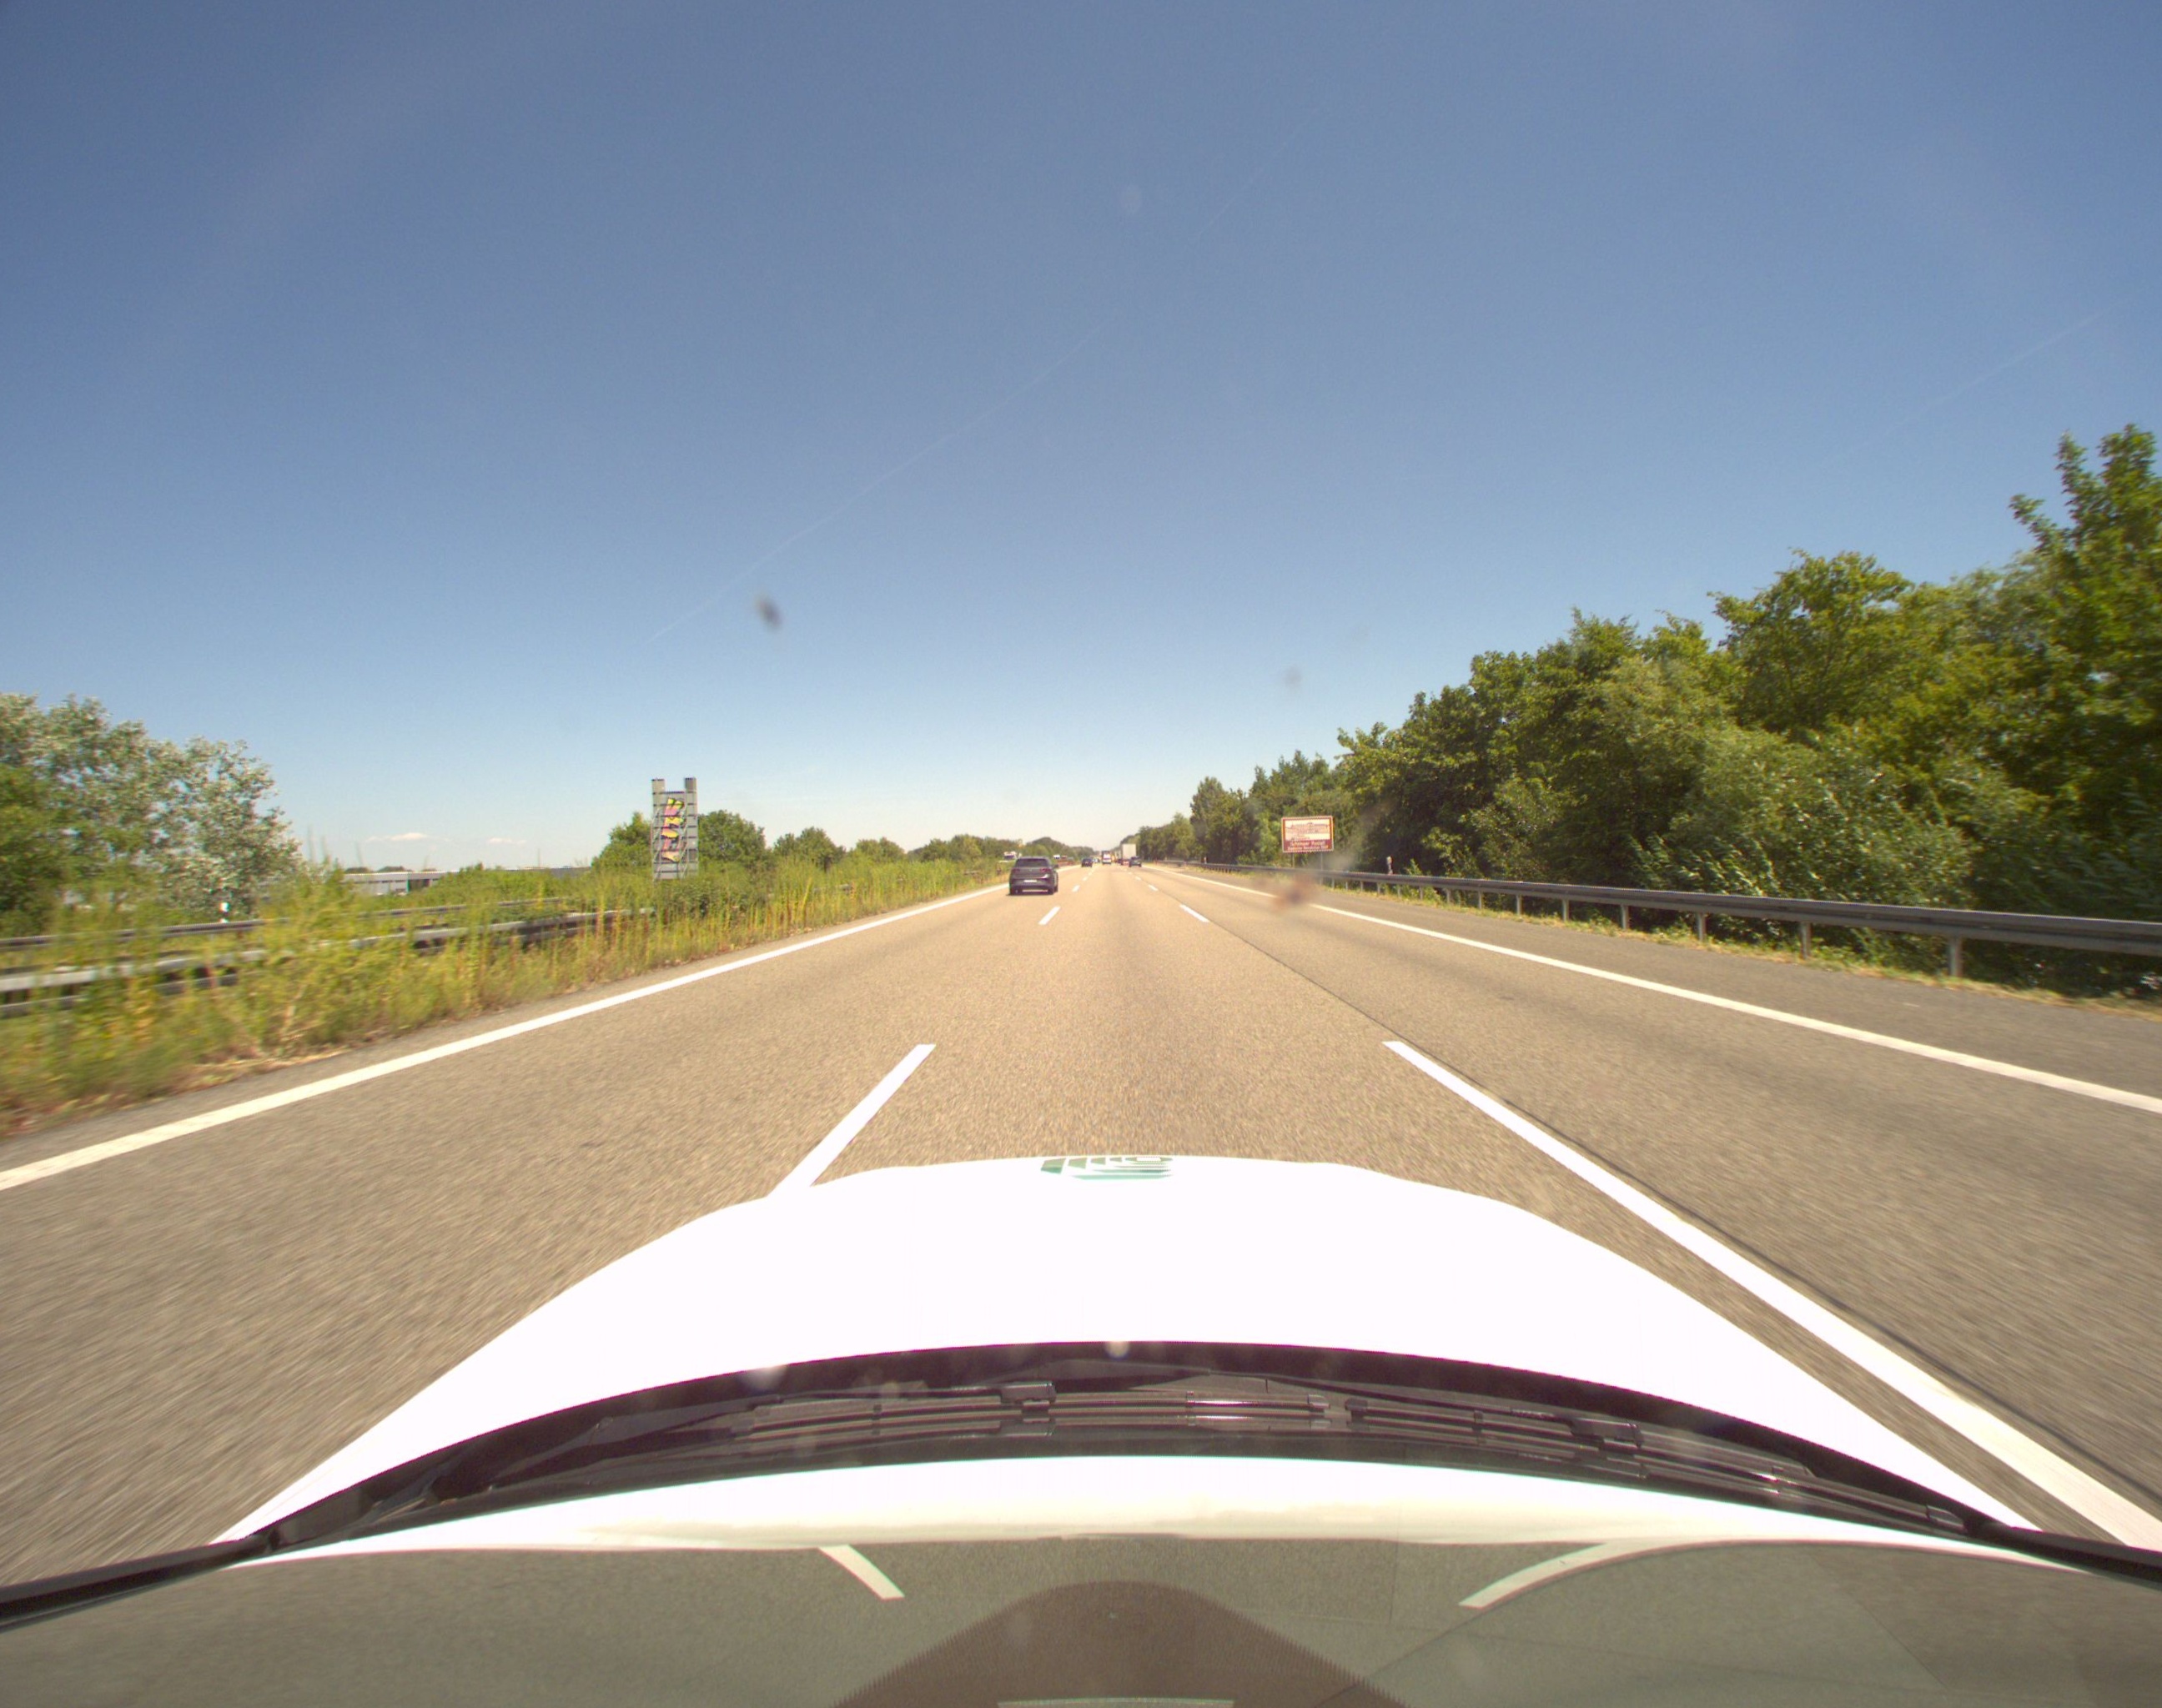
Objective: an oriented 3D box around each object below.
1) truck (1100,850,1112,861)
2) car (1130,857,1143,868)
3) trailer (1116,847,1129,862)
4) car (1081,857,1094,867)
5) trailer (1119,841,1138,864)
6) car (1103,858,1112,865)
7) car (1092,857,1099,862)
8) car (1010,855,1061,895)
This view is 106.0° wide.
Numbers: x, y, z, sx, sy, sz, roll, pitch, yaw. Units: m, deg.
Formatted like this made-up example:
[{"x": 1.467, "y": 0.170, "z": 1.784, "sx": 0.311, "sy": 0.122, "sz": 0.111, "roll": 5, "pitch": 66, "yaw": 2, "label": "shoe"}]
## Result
[{"x": 8.141, "y": 0.467, "z": 262.794, "sx": 3.652, "sy": 3.726, "sz": 7.113, "roll": 0, "pitch": 0, "yaw": 3, "label": "truck"}, {"x": 8.334, "y": 1.306, "z": 122.239, "sx": 1.838, "sy": 1.629, "sz": 4.137, "roll": -2, "pitch": 0, "yaw": 2, "label": "car"}, {"x": 10.963, "y": 0.222, "z": 217.019, "sx": 3.112, "sy": 3.926, "sz": 9.937, "roll": 0, "pitch": 0, "yaw": 1, "label": "trailer"}, {"x": 1.064, "y": 1.285, "z": 126.763, "sx": 1.893, "sy": 1.531, "sz": 4.085, "roll": 0, "pitch": 0, "yaw": 2, "label": "car"}, {"x": 8.997, "y": -0.222, "z": 155.700, "sx": 3.421, "sy": 4.181, "sz": 13.638, "roll": 0, "pitch": -1, "yaw": 2, "label": "trailer"}, {"x": 5.467, "y": 1.556, "z": 169.130, "sx": 1.893, "sy": 1.531, "sz": 4.085, "roll": 0, "pitch": 0, "yaw": 2, "label": "car"}, {"x": 4.155, "y": 1.593, "z": 234.261, "sx": 1.900, "sy": 1.531, "sz": 4.287, "roll": 0, "pitch": 0, "yaw": 2, "label": "car"}, {"x": -1.829, "y": 0.804, "z": 33.870, "sx": 1.753, "sy": 1.531, "sz": 4.287, "roll": 0, "pitch": 0, "yaw": 2, "label": "car"}]
